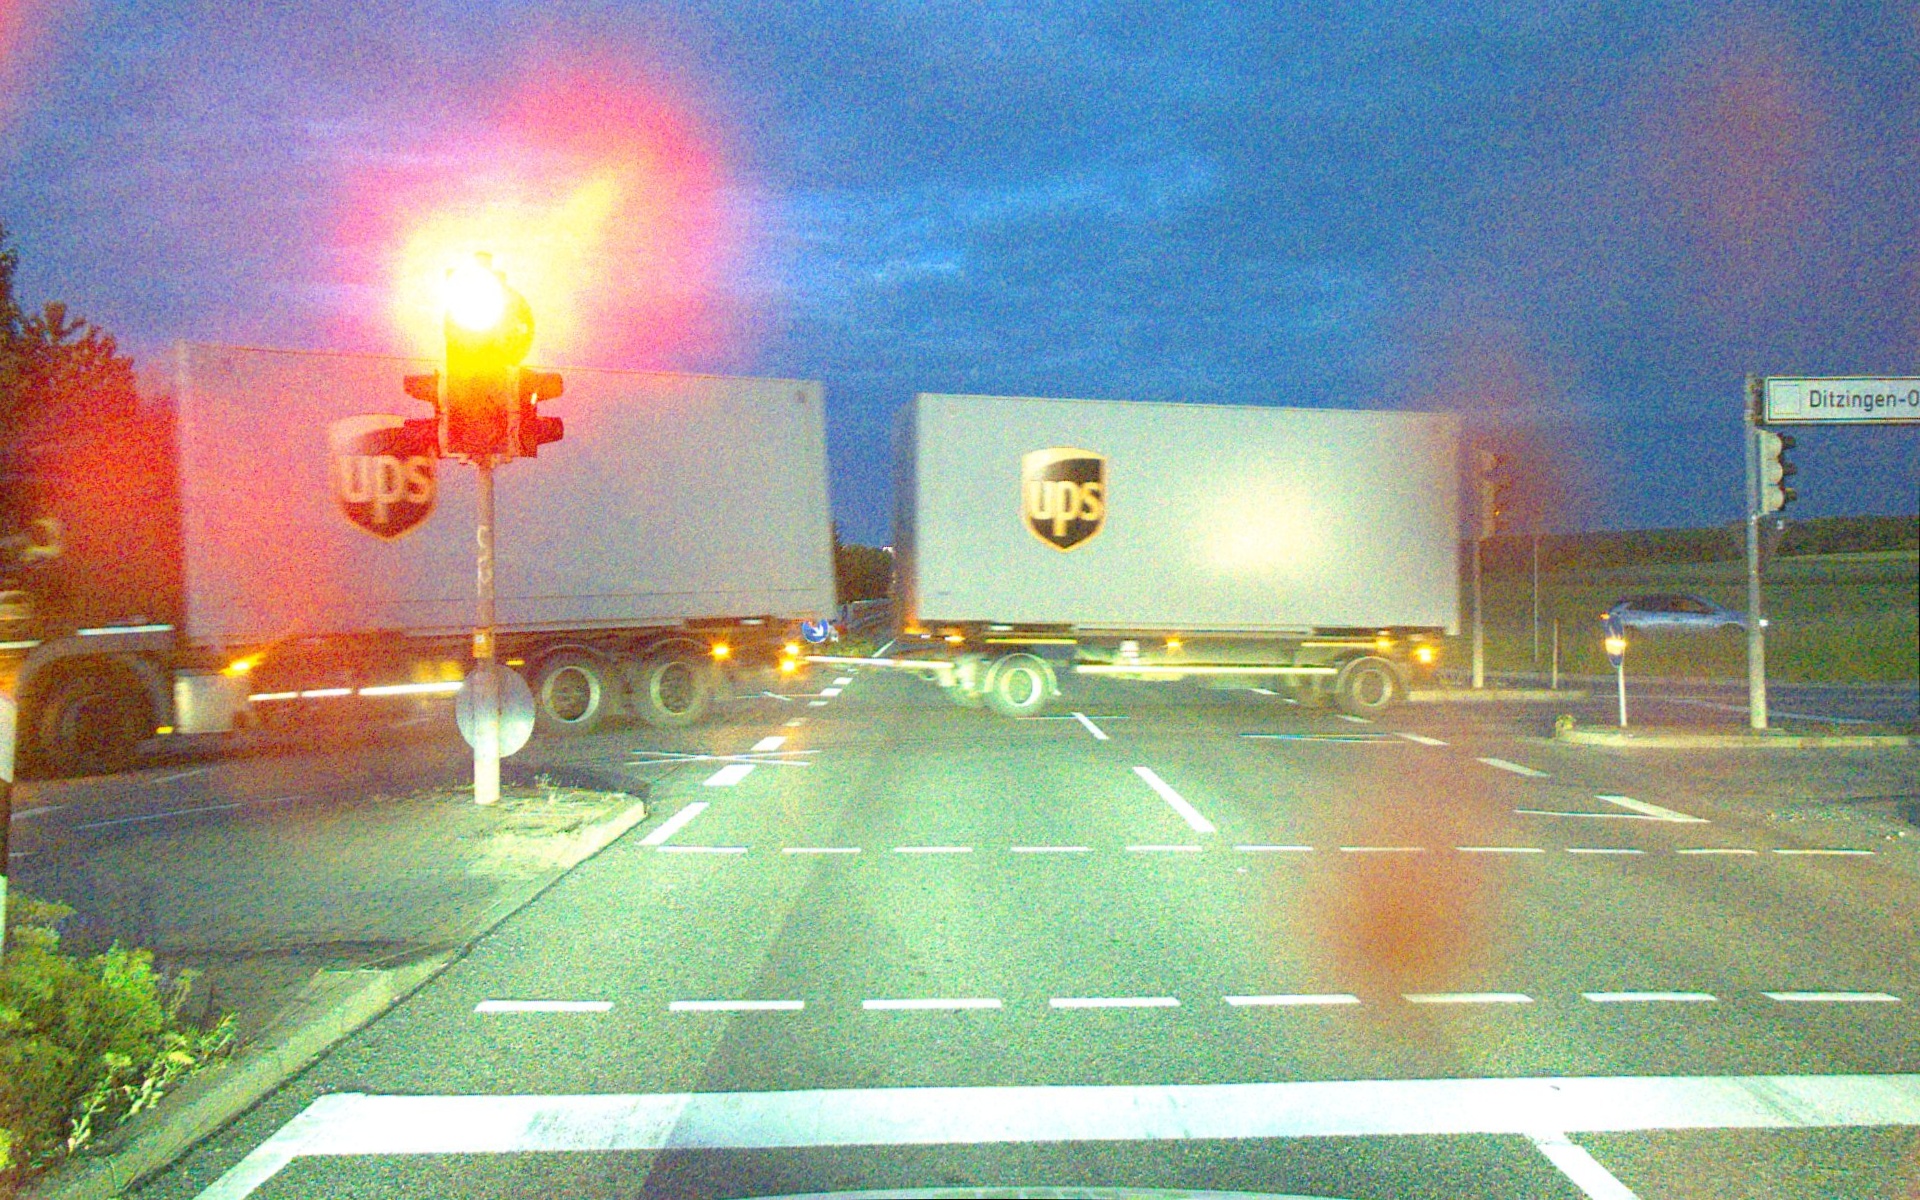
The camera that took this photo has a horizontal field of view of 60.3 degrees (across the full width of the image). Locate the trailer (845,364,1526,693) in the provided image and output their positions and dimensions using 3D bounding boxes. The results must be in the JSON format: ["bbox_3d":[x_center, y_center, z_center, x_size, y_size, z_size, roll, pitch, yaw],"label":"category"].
[{"bbox_3d":[2.948,-0.990,22.353,8.687,4.012,2.579,-2,0,-10],"label":"trailer"}]

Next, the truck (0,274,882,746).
[{"bbox_3d":[-5.851,-0.804,18.343,10.231,4.189,2.699,0,0,-37],"label":"truck"}]

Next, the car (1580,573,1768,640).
[{"bbox_3d":[19.236,0.182,44.588,4.383,1.693,1.995,-2,0,33],"label":"car"}]
